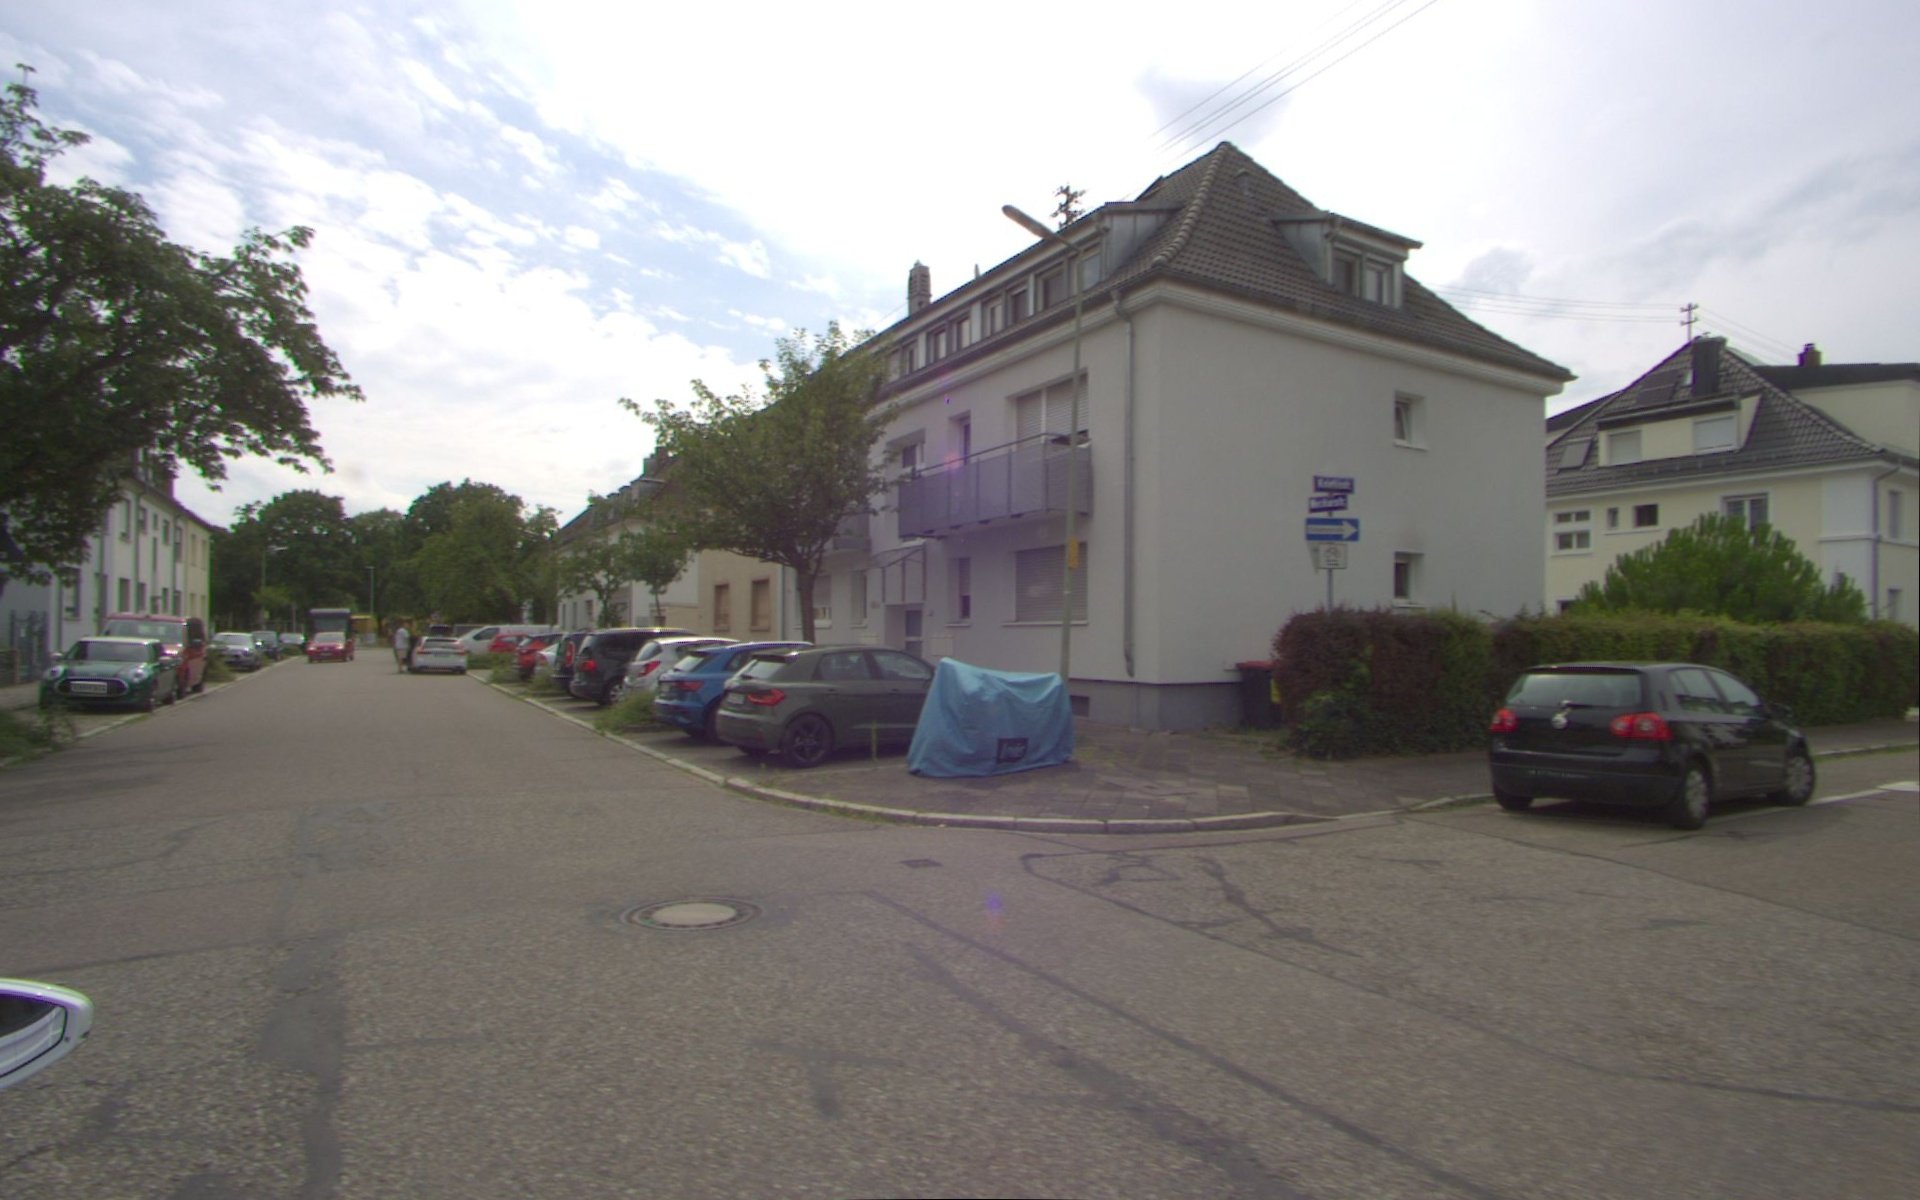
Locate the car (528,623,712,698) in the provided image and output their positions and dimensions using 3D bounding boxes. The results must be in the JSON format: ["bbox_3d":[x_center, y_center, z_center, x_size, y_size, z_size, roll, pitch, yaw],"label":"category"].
[{"bbox_3d":[-8.244,1.405,24.317,3.943,1.639,1.858,0,-1,-30],"label":"car"}]

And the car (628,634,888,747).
[{"bbox_3d":[-2.980,1.259,14.900,3.479,1.430,1.550,0,-1,-31],"label":"car"}]

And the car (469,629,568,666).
[{"bbox_3d":[-20.057,2.115,45.511,3.944,1.538,1.713,0,-1,-31],"label":"car"}]

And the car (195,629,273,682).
[{"bbox_3d":[-22.304,1.661,30.865,1.633,1.480,3.533,0,-1,-31],"label":"car"}]

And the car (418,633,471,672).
[{"bbox_3d":[-20.010,1.992,38.829,1.668,1.371,3.808,0,-1,-29],"label":"car"}]

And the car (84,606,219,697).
[{"bbox_3d":[-19.970,1.242,24.949,1.973,2.039,4.496,2,-2,-31],"label":"car"}]

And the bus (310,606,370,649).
[{"bbox_3d":[-42.975,1.888,69.610,2.969,2.797,8.883,-1,-1,-29],"label":"bus"}]

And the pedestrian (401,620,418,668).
[{"bbox_3d":[-20.262,1.613,36.889,0.516,1.726,0.442,-1,0,-27],"label":"pedestrian"}]

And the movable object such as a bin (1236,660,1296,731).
[{"bbox_3d":[4.598,1.421,15.039,0.514,1.021,0.696,2,-2,-33],"label":"movable object such as a bin"}]

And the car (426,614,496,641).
[{"bbox_3d":[-28.202,1.542,56.596,3.490,1.444,1.590,0,-1,-30],"label":"car"}]

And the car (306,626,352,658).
[{"bbox_3d":[-31.539,2.052,50.122,1.844,1.505,3.979,0,-1,-31],"label":"car"}]

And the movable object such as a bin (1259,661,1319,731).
[{"bbox_3d":[5.035,1.457,15.338,0.514,1.021,0.696,2,-2,-33],"label":"movable object such as a bin"}]

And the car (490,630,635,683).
[{"bbox_3d":[-12.275,1.700,30.988,3.944,1.457,1.713,0,-1,-31],"label":"car"}]

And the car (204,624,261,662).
[{"bbox_3d":[-29.126,1.698,40.160,1.634,1.395,3.699,0,-1,-33],"label":"car"}]

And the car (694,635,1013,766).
[{"bbox_3d":[-1.346,1.181,12.943,3.706,1.383,1.764,0,-1,-30],"label":"car"}]

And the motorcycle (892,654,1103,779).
[{"bbox_3d":[0.435,1.225,11.028,2.171,1.226,0.934,2,-2,-33],"label":"motorcycle"}]

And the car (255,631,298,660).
[{"bbox_3d":[-35.545,2.348,52.132,1.633,1.395,3.701,0,-1,-31],"label":"car"}]

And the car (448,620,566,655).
[{"bbox_3d":[-21.500,1.755,47.599,4.923,1.538,1.758,0,-1,-33],"label":"car"}]

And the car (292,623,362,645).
[{"bbox_3d":[-46.852,2.524,74.191,3.925,1.562,1.868,-1,-1,-11],"label":"car"}]

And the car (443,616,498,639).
[{"bbox_3d":[-35.626,2.002,72.891,3.490,1.623,1.764,0,-1,-30],"label":"car"}]

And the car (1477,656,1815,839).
[{"bbox_3d":[6.950,1.310,10.038,3.768,1.461,1.652,2,-2,-36],"label":"car"}]

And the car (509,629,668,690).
[{"bbox_3d":[-10.460,1.619,28.246,3.944,1.538,1.713,0,-1,-31],"label":"car"}]

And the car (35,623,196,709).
[{"bbox_3d":[-17.255,1.282,20.658,1.742,1.574,3.715,-1,-1,-27],"label":"car"}]

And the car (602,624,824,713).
[{"bbox_3d":[-4.857,1.284,19.824,3.944,1.538,1.713,0,-1,-31],"label":"car"}]

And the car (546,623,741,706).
[{"bbox_3d":[-6.777,1.318,21.520,3.706,1.585,1.764,0,-1,-30],"label":"car"}]

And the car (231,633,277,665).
[{"bbox_3d":[-31.442,2.171,44.639,1.523,1.318,3.699,0,-1,-33],"label":"car"}]
